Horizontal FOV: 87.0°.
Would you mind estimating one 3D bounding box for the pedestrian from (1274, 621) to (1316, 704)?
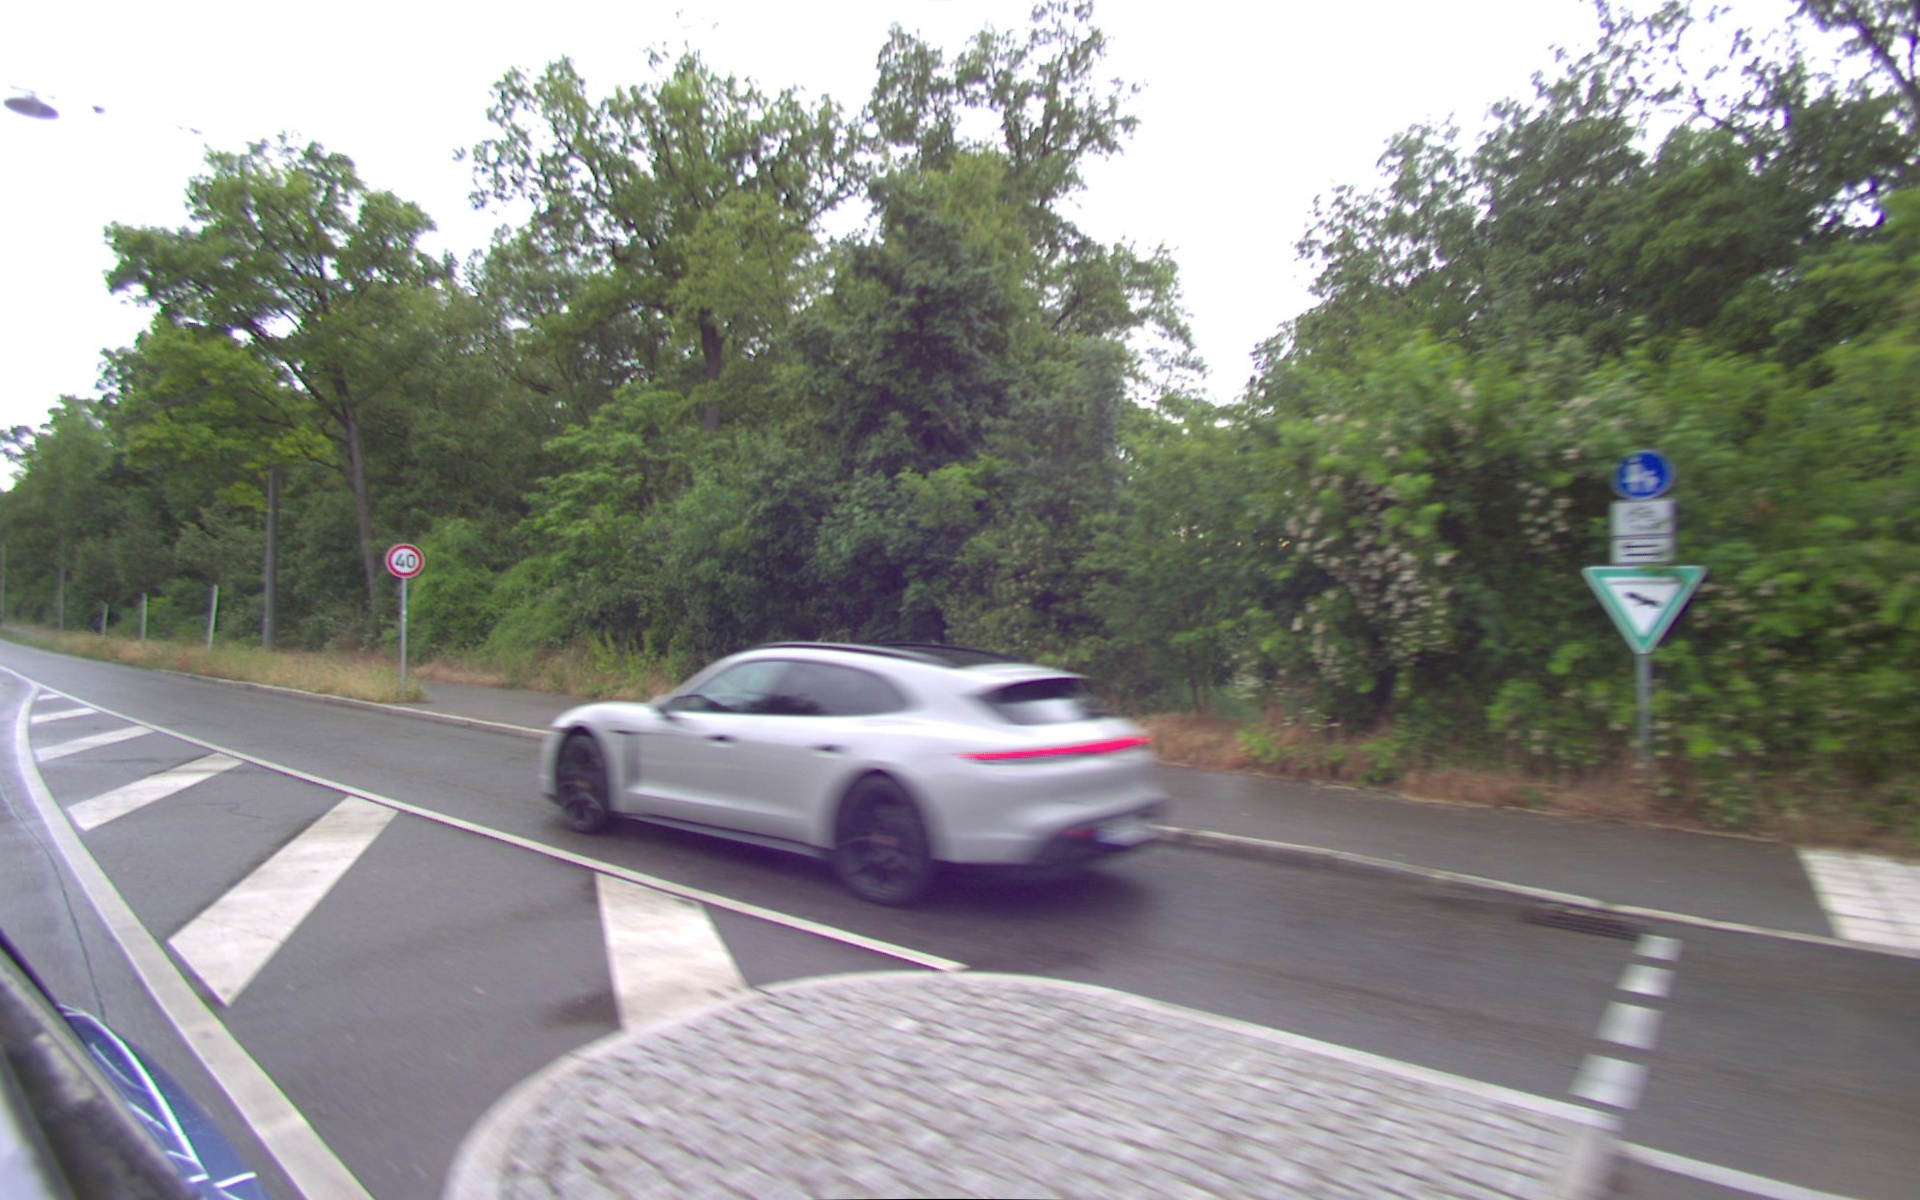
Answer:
[{"bbox_3d":[6.292,1.159,19.023,0.608,1.514,0.459,-1,-2,44],"label":"pedestrian"}]

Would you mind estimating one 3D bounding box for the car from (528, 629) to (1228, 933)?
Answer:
[{"bbox_3d":[-0.747,0.921,6.858,4.595,1.386,1.922,-1,-3,36],"label":"car"}]

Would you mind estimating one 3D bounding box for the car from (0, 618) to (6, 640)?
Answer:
[{"bbox_3d":[-74.209,2.183,77.046,4.603,1.615,1.919,-1,-3,42],"label":"car"}]
